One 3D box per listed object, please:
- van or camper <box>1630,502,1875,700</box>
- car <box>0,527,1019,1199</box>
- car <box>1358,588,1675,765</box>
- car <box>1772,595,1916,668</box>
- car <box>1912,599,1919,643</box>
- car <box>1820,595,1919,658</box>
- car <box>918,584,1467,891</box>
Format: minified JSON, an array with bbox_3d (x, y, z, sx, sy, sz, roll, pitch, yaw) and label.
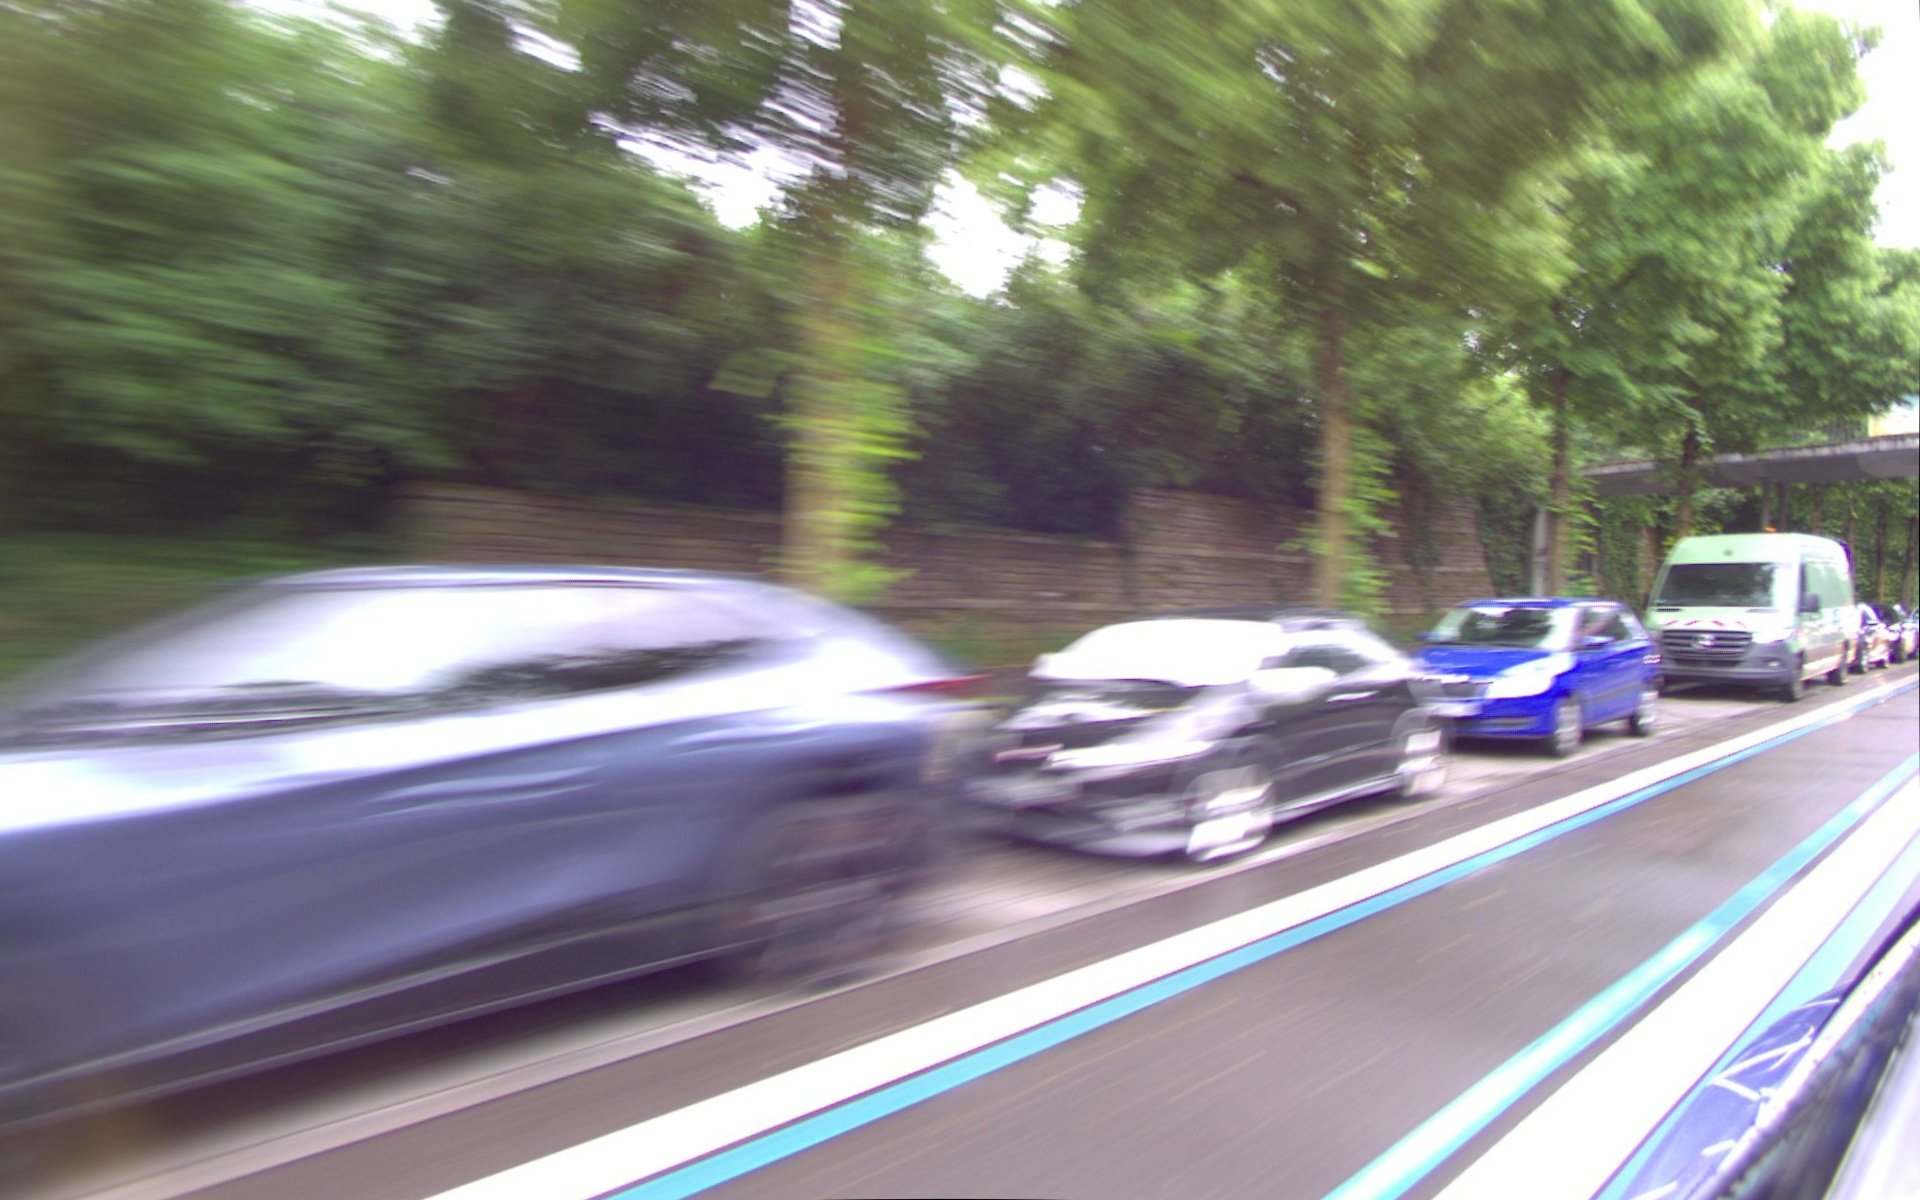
[{"bbox_3d":[13.592,0.031,17.135,6.780,2.764,2.045,0,-1,-41],"label":"van or camper"},{"bbox_3d":[-1.988,0.648,3.581,4.418,1.610,1.759,0,-1,-40],"label":"car"},{"bbox_3d":[5.929,0.670,10.630,3.767,1.533,1.689,0,-1,-40],"label":"car"},{"bbox_3d":[19.088,0.610,21.802,4.026,1.434,1.689,0,0,-39],"label":"car"},{"bbox_3d":[31.974,0.658,32.635,3.797,1.370,1.586,0,-1,-43],"label":"car"},{"bbox_3d":[23.037,0.609,25.293,4.122,1.434,1.689,0,0,-40],"label":"car"},{"bbox_3d":[1.793,0.672,6.899,4.076,1.474,1.687,0,-1,-43],"label":"car"}]
